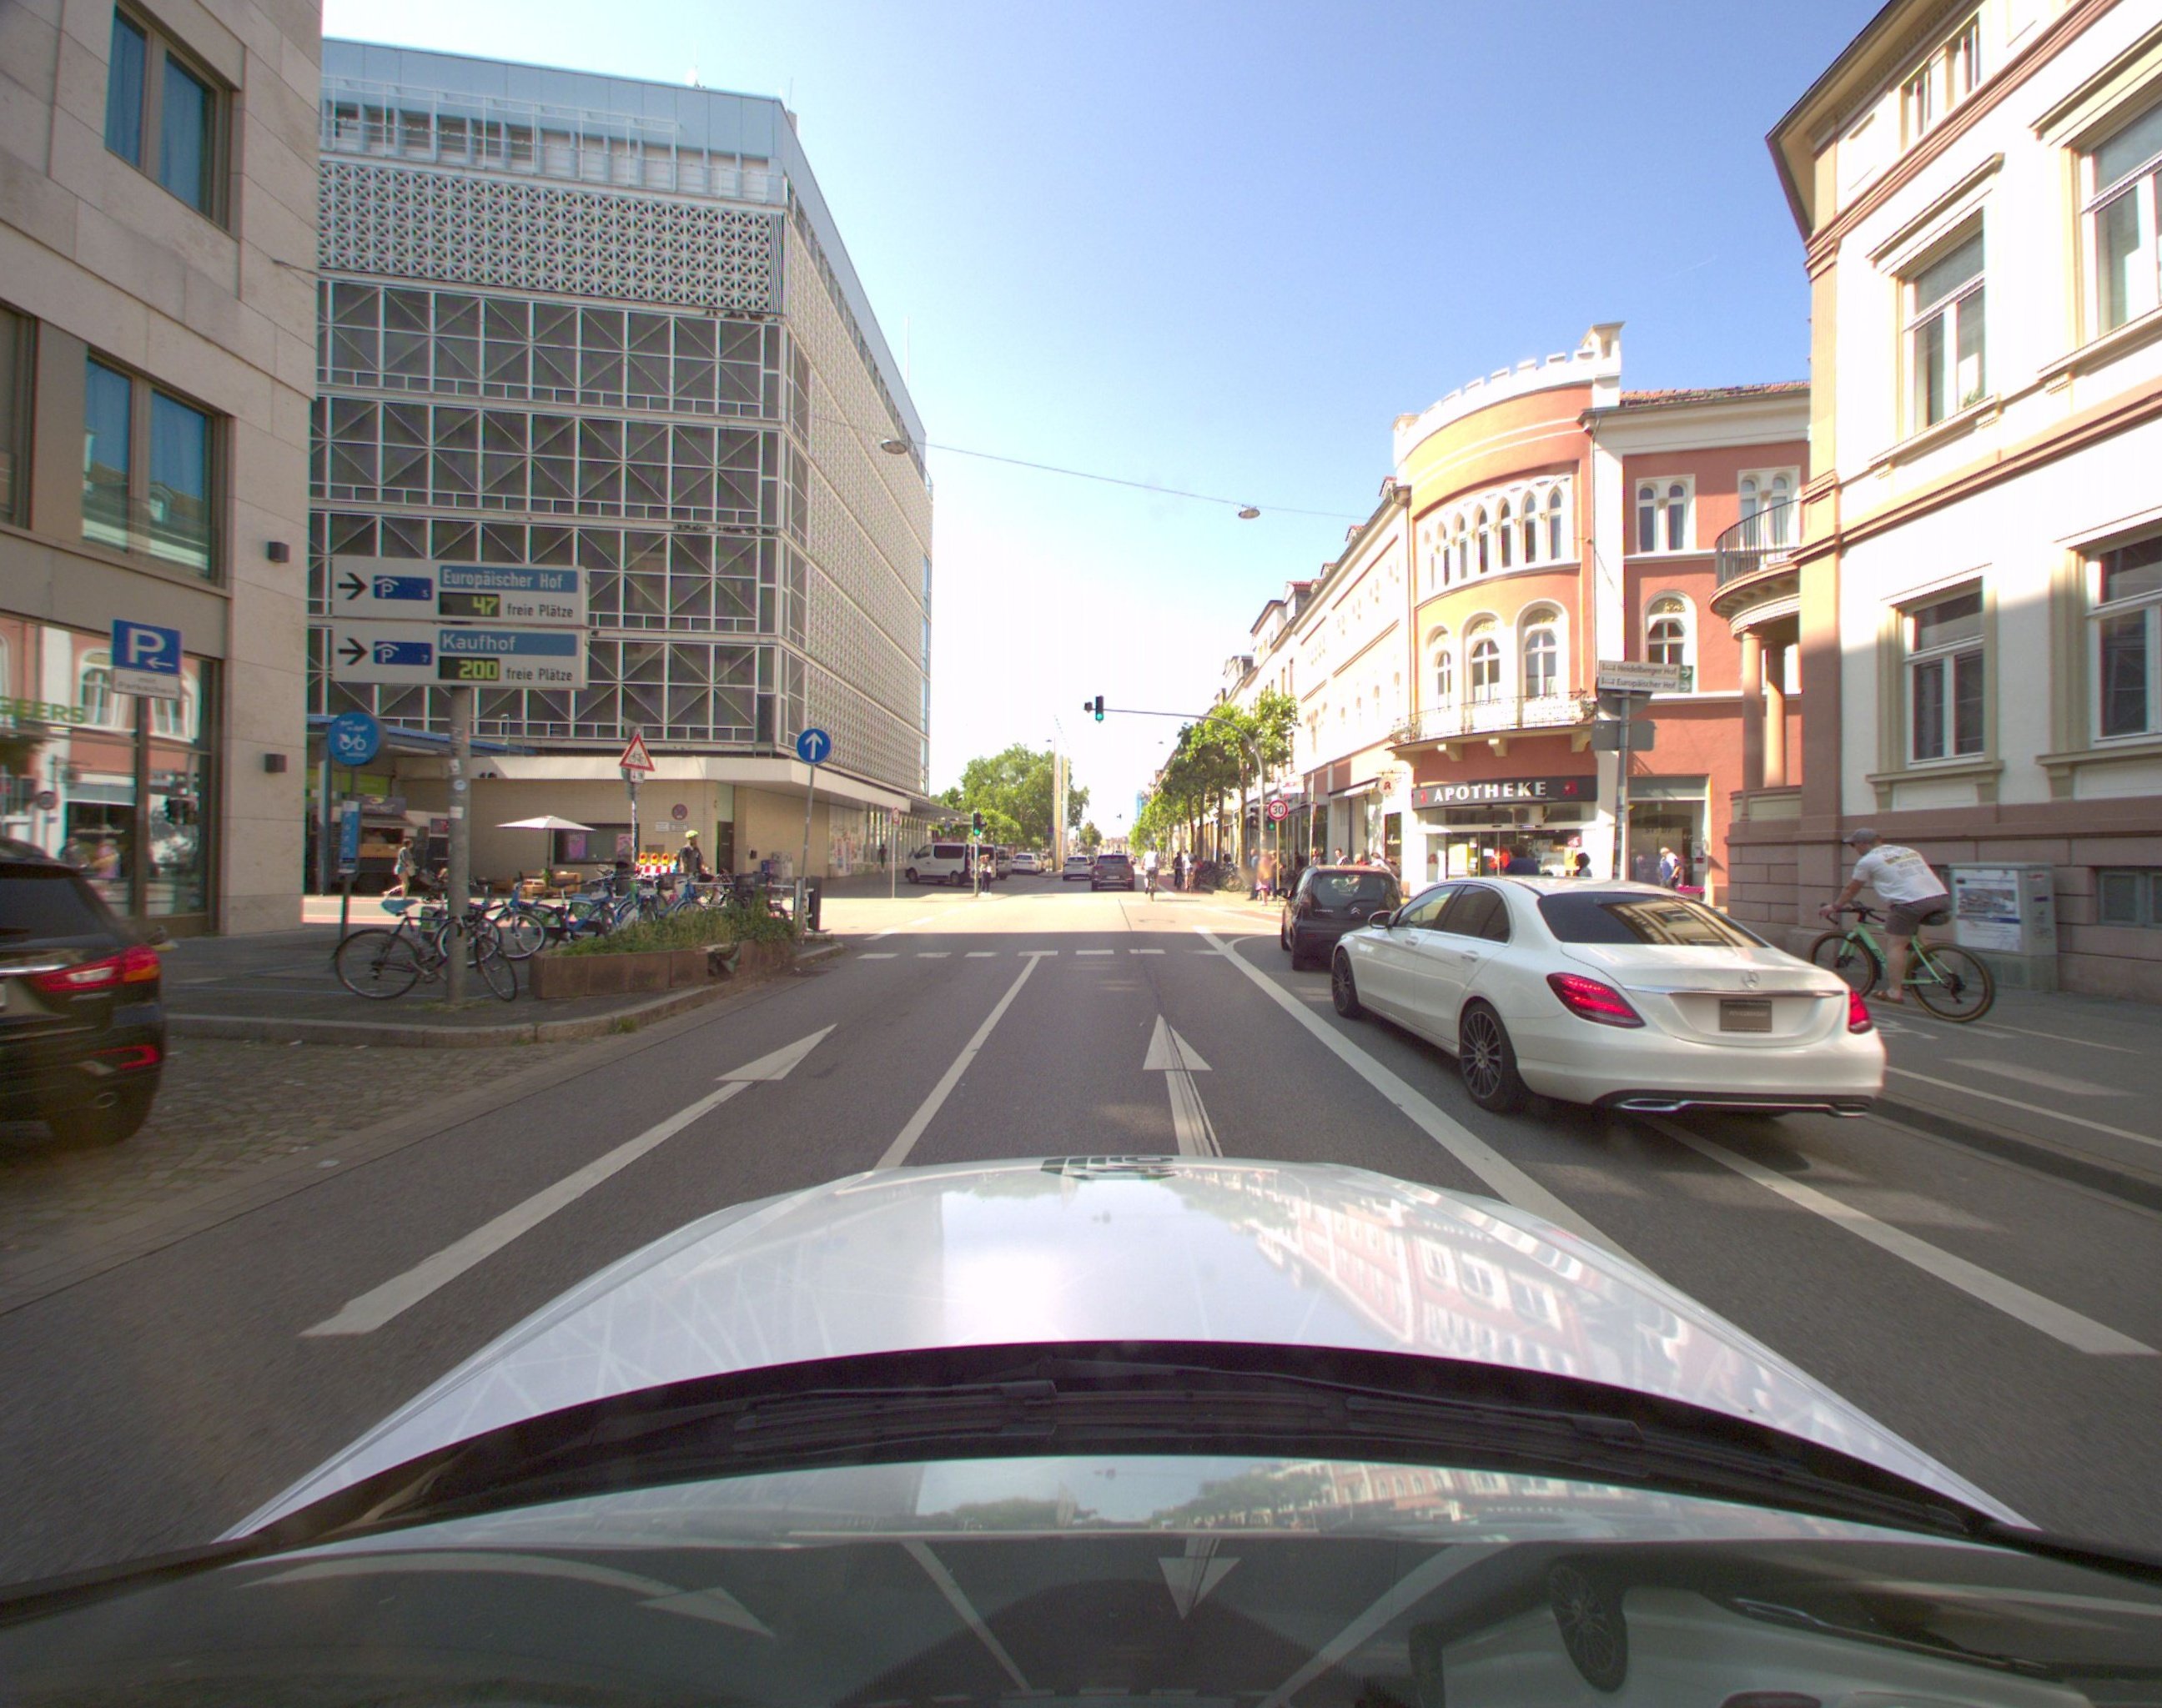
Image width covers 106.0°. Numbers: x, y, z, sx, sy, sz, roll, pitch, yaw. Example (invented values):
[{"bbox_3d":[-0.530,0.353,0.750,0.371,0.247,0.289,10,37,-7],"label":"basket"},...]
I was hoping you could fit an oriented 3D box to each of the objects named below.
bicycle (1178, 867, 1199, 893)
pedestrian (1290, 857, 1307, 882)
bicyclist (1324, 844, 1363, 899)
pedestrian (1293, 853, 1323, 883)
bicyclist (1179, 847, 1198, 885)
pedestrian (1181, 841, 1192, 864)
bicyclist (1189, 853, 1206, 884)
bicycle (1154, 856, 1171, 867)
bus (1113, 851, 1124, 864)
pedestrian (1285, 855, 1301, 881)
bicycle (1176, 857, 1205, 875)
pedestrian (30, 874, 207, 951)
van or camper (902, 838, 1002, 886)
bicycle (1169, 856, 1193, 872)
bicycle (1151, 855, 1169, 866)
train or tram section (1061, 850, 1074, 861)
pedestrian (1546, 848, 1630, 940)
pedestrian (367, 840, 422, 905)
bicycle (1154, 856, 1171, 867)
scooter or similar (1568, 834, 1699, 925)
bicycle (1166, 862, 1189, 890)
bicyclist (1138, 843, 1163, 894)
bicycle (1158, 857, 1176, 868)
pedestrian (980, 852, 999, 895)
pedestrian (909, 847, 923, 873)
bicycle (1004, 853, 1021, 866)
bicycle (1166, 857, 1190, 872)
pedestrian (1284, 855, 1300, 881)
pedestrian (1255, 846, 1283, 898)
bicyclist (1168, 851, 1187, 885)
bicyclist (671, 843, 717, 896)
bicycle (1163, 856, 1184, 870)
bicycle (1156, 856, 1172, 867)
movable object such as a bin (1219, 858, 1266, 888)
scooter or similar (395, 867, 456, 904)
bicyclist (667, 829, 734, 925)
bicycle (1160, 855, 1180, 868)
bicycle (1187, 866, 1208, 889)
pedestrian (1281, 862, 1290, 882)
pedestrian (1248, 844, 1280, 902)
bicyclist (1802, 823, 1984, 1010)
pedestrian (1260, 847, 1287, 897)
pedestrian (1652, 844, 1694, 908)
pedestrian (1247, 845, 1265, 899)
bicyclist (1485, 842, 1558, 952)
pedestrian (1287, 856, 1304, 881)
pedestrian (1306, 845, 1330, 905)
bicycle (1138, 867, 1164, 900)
[{"bbox_3d":[4.256,0.999,32.260,0.628,0.980,2.089,0,0,2],"label":"bicycle"},{"bbox_3d":[10.934,0.769,40.950,0.637,1.253,0.608,-2,-1,0],"label":"pedestrian"},{"bbox_3d":[6.910,0.456,21.458,0.855,1.411,0.501,0,0,3],"label":"bicyclist"},{"bbox_3d":[10.803,0.661,38.772,1.229,1.422,0.789,0,-1,-1],"label":"pedestrian"},{"bbox_3d":[4.258,0.482,32.336,0.628,1.481,1.199,0,-1,2],"label":"bicyclist"},{"bbox_3d":[7.993,-0.124,61.731,0.637,1.689,0.843,3,0,0],"label":"pedestrian"},{"bbox_3d":[5.063,0.631,35.432,0.598,1.358,0.720,1,-1,-1],"label":"bicyclist"},{"bbox_3d":[8.988,0.789,89.830,1.835,1.201,0.609,1,0,4],"label":"bicycle"},{"bbox_3d":[11.097,1.070,242.824,2.983,3.594,11.748,0,-1,2],"label":"bus"},{"bbox_3d":[10.940,0.725,42.094,0.679,1.338,0.532,0,0,0],"label":"pedestrian"},{"bbox_3d":[7.370,0.828,54.689,1.837,1.127,0.496,2,1,-6],"label":"bicycle"},{"bbox_3d":[-12.261,0.727,10.408,1.245,0.925,0.841,0,0,0],"label":"pedestrian"},{"bbox_3d":[-5.962,0.332,37.438,4.602,2.013,2.012,2,1,41],"label":"van or camper"},{"bbox_3d":[7.709,0.768,62.713,1.829,1.197,0.675,1,0,9],"label":"bicycle"},{"bbox_3d":[9.153,0.776,94.243,1.937,1.257,0.701,1,0,-17],"label":"bicycle"},{"bbox_3d":[-3.998,0.464,239.177,2.600,3.348,11.020,1,0,6],"label":"train or tram section"},{"bbox_3d":[9.297,0.729,14.954,0.907,1.612,0.966,1,-4,-35],"label":"pedestrian"},{"bbox_3d":[-18.094,0.468,21.488,0.844,1.658,0.836,0,1,-17],"label":"pedestrian"},{"bbox_3d":[8.929,0.781,89.325,1.835,1.201,0.545,1,0,4],"label":"bicycle"},{"bbox_3d":[7.314,0.353,10.844,0.783,1.060,1.123,-7,-3,-7],"label":"scooter or similar"},{"bbox_3d":[4.194,0.936,35.467,0.696,1.127,2.080,2,0,-1],"label":"bicycle"},{"bbox_3d":[2.286,0.462,26.842,0.771,1.635,0.852,0,0,2],"label":"bicyclist"},{"bbox_3d":[8.628,0.825,81.799,1.720,1.109,0.478,1,0,4],"label":"bicycle"},{"bbox_3d":[-3.489,0.731,30.892,0.639,1.559,0.679,2,0,-10],"label":"pedestrian"},{"bbox_3d":[-9.937,0.331,49.063,0.677,1.559,0.640,0,0,-3],"label":"pedestrian"},{"bbox_3d":[-7.415,0.608,88.415,1.776,1.309,0.663,1,0,-1],"label":"bicycle"},{"bbox_3d":[7.589,0.811,63.784,1.827,1.127,0.499,2,-1,13],"label":"bicycle"},{"bbox_3d":[11.045,0.734,42.688,0.679,1.333,0.532,0,0,0],"label":"pedestrian"},{"bbox_3d":[6.604,0.616,28.605,0.785,1.795,0.641,2,0,0],"label":"pedestrian"},{"bbox_3d":[4.203,0.621,35.500,0.696,1.440,0.790,2,0,-1],"label":"bicyclist"},{"bbox_3d":[-11.681,0.453,24.587,1.082,1.539,0.727,-2,1,-39],"label":"bicyclist"},{"bbox_3d":[8.129,0.784,71.538,1.830,1.186,0.671,2,0,7],"label":"bicycle"},{"bbox_3d":[8.985,0.779,88.103,1.641,1.201,0.475,1,0,4],"label":"bicycle"},{"bbox_3d":[6.770,0.779,34.171,1.836,1.189,0.656,2,0,17],"label":"movable object such as a bin"},{"bbox_3d":[-17.443,0.835,21.696,0.973,0.965,0.896,1,-1,-19],"label":"scooter or similar"},{"bbox_3d":[-8.002,0.464,17.186,0.837,1.960,1.019,0,-1,8],"label":"bicyclist"},{"bbox_3d":[8.563,0.736,78.631,1.922,1.248,0.737,1,0,4],"label":"bicycle"},{"bbox_3d":[5.051,1.004,35.432,0.598,0.926,2.086,1,-1,-1],"label":"bicycle"},{"bbox_3d":[10.302,0.917,41.087,0.363,0.968,0.437,0,0,4],"label":"pedestrian"},{"bbox_3d":[5.628,0.590,25.076,0.637,1.709,0.789,-4,-3,-2],"label":"pedestrian"},{"bbox_3d":[7.783,0.549,7.868,0.569,1.661,1.158,-2,1,-1],"label":"bicyclist"},{"bbox_3d":[6.598,0.602,27.930,0.785,1.690,0.641,1,0,0],"label":"pedestrian"},{"bbox_3d":[15.897,0.568,21.889,0.634,1.658,0.793,1,2,13],"label":"pedestrian"},{"bbox_3d":[5.868,0.602,27.347,0.451,1.795,0.608,2,0,0],"label":"pedestrian"},{"bbox_3d":[6.930,0.657,12.846,0.728,1.673,0.775,-1,-1,3],"label":"bicyclist"},{"bbox_3d":[10.946,0.750,41.548,0.679,1.253,0.532,-1,0,0],"label":"pedestrian"},{"bbox_3d":[7.444,0.651,25.587,0.634,1.843,0.617,2,-1,14],"label":"pedestrian"},{"bbox_3d":[2.290,0.947,26.858,0.771,1.006,2.331,0,0,3],"label":"bicycle"}]
